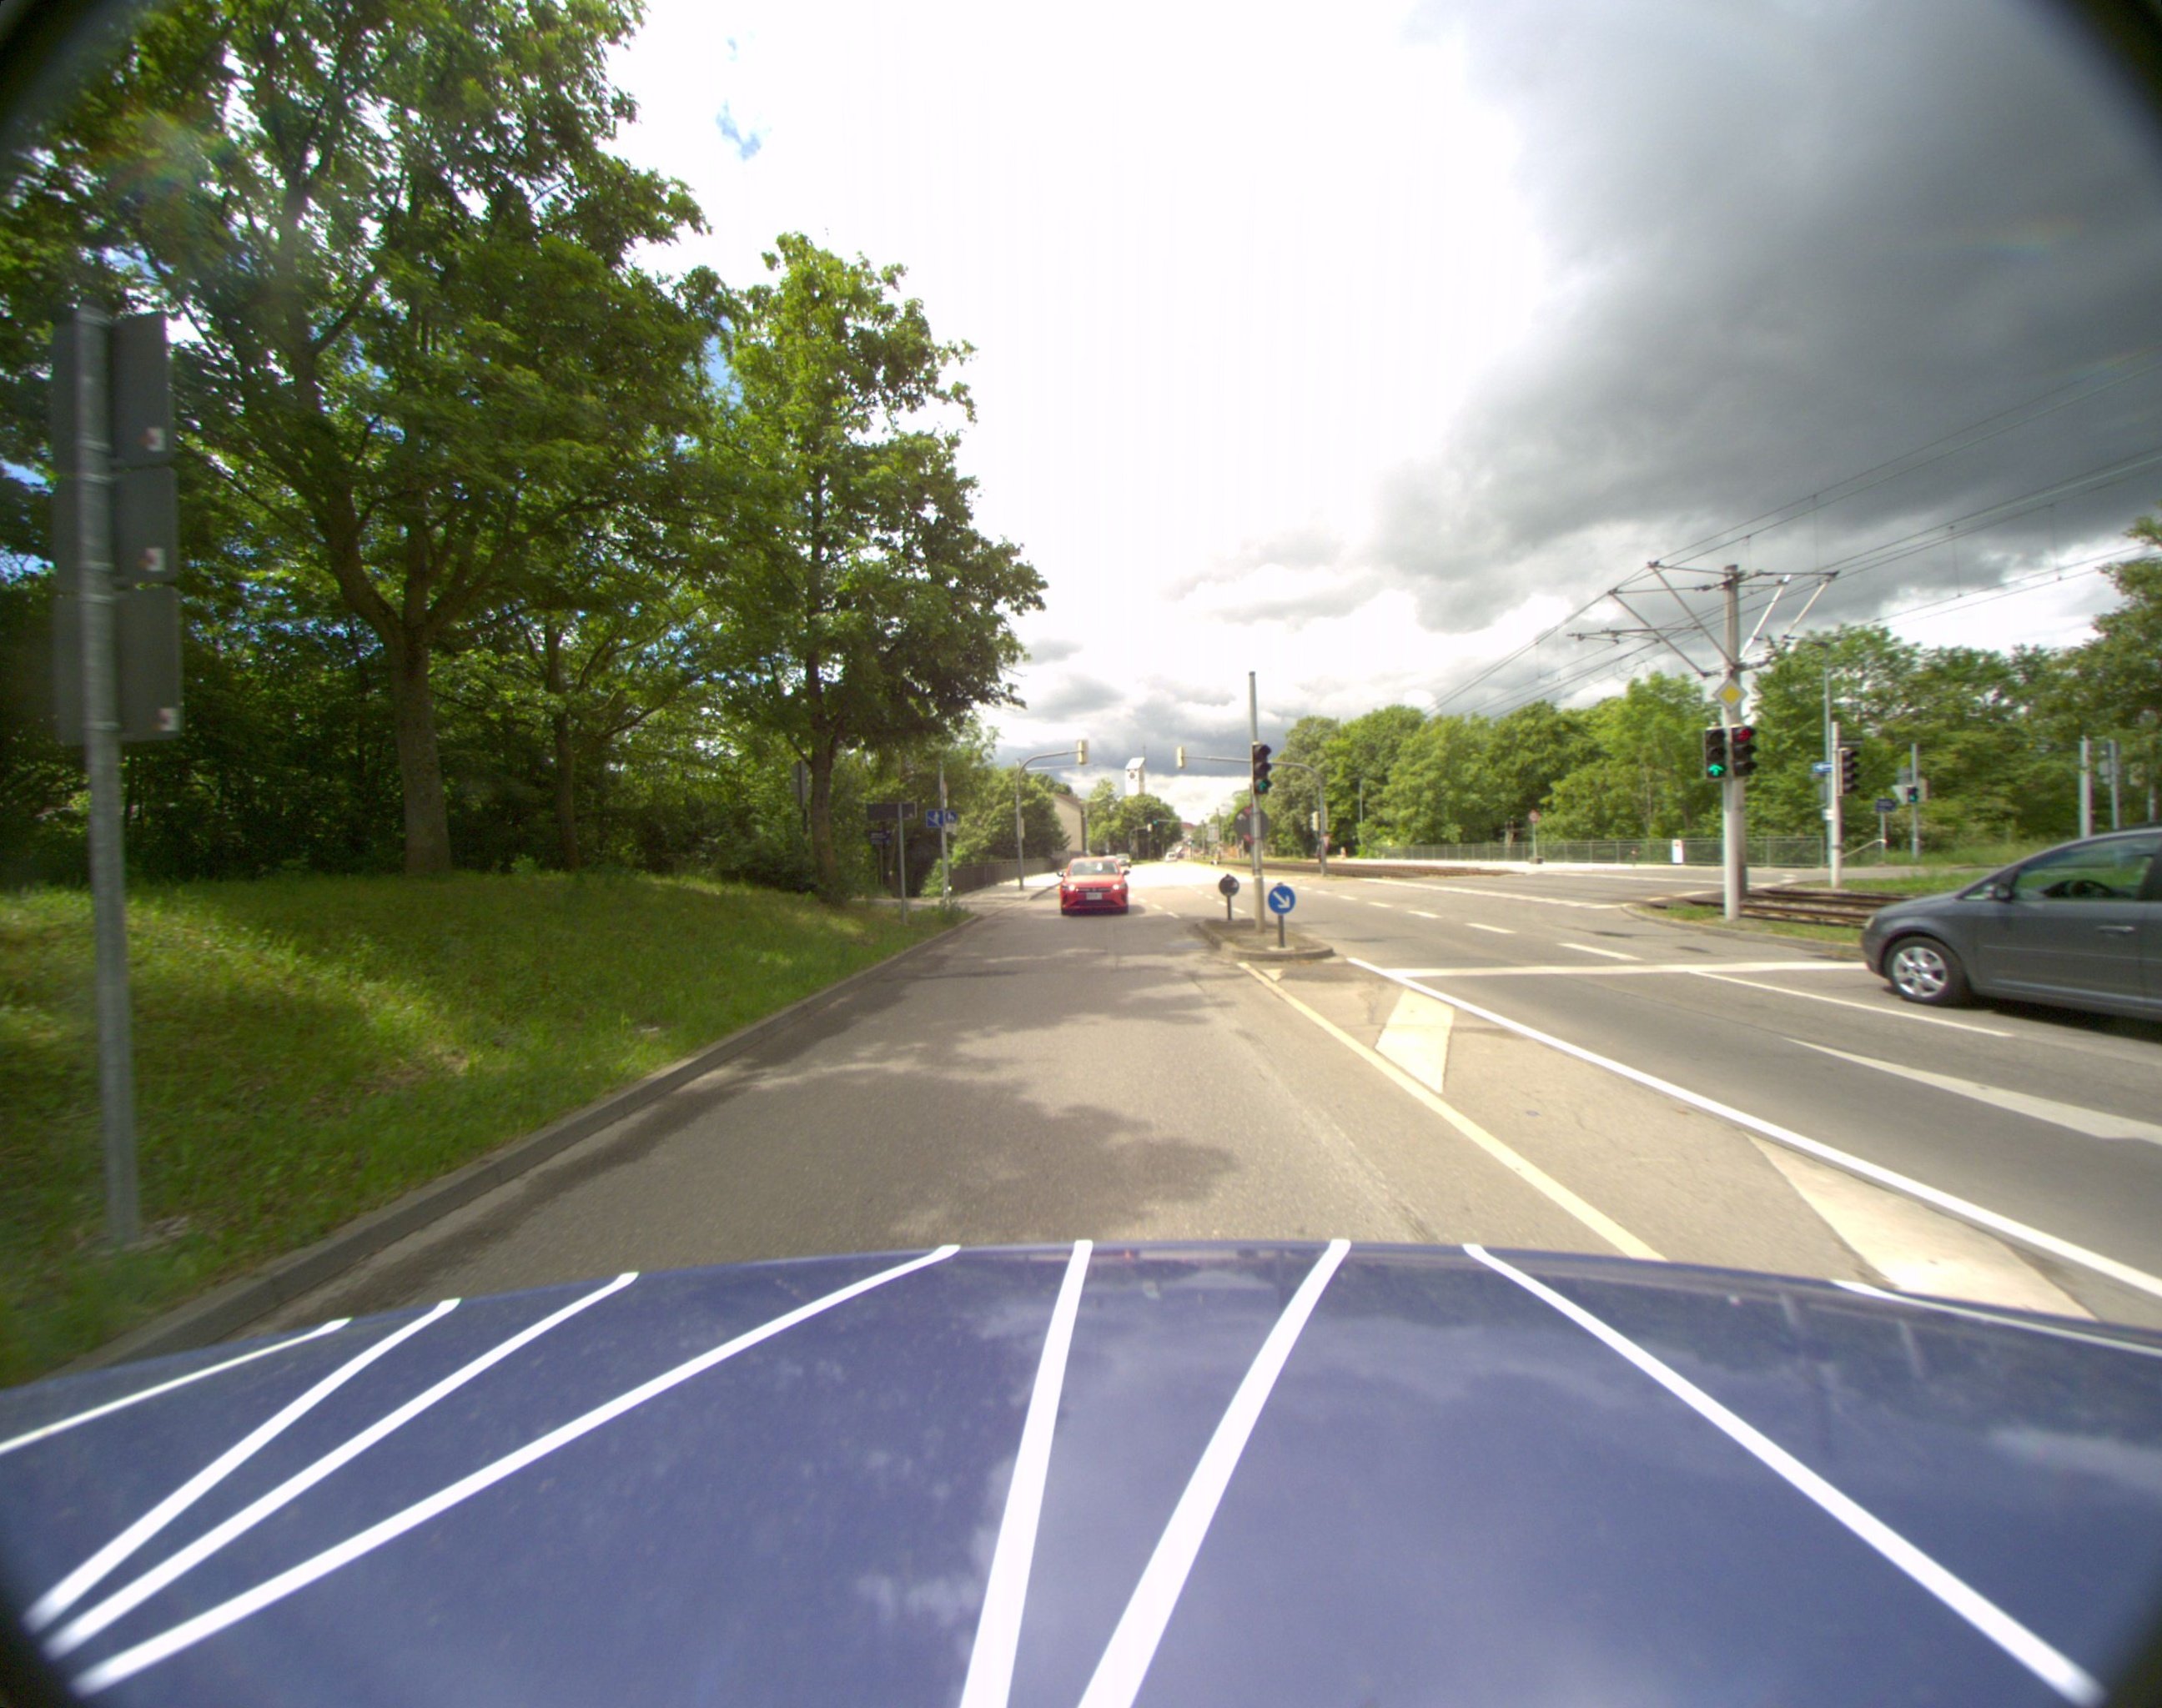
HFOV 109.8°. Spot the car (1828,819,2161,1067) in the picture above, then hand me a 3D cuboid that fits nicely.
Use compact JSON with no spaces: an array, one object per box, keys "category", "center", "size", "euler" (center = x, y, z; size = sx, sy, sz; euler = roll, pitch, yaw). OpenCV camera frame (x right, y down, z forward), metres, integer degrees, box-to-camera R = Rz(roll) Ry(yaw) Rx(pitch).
[{"category":"car","center":[8.351,0.593,5.272],"size":[1.998,1.650,4.521],"euler":[-2,2,2]}]

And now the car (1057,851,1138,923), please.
[{"category":"car","center":[0.388,0.733,19.602],"size":[1.790,1.453,4.851],"euler":[-2,2,0]}]

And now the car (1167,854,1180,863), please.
[{"category":"car","center":[14.777,0.692,121.810],"size":[1.789,1.340,4.853],"euler":[-2,2,4]}]
